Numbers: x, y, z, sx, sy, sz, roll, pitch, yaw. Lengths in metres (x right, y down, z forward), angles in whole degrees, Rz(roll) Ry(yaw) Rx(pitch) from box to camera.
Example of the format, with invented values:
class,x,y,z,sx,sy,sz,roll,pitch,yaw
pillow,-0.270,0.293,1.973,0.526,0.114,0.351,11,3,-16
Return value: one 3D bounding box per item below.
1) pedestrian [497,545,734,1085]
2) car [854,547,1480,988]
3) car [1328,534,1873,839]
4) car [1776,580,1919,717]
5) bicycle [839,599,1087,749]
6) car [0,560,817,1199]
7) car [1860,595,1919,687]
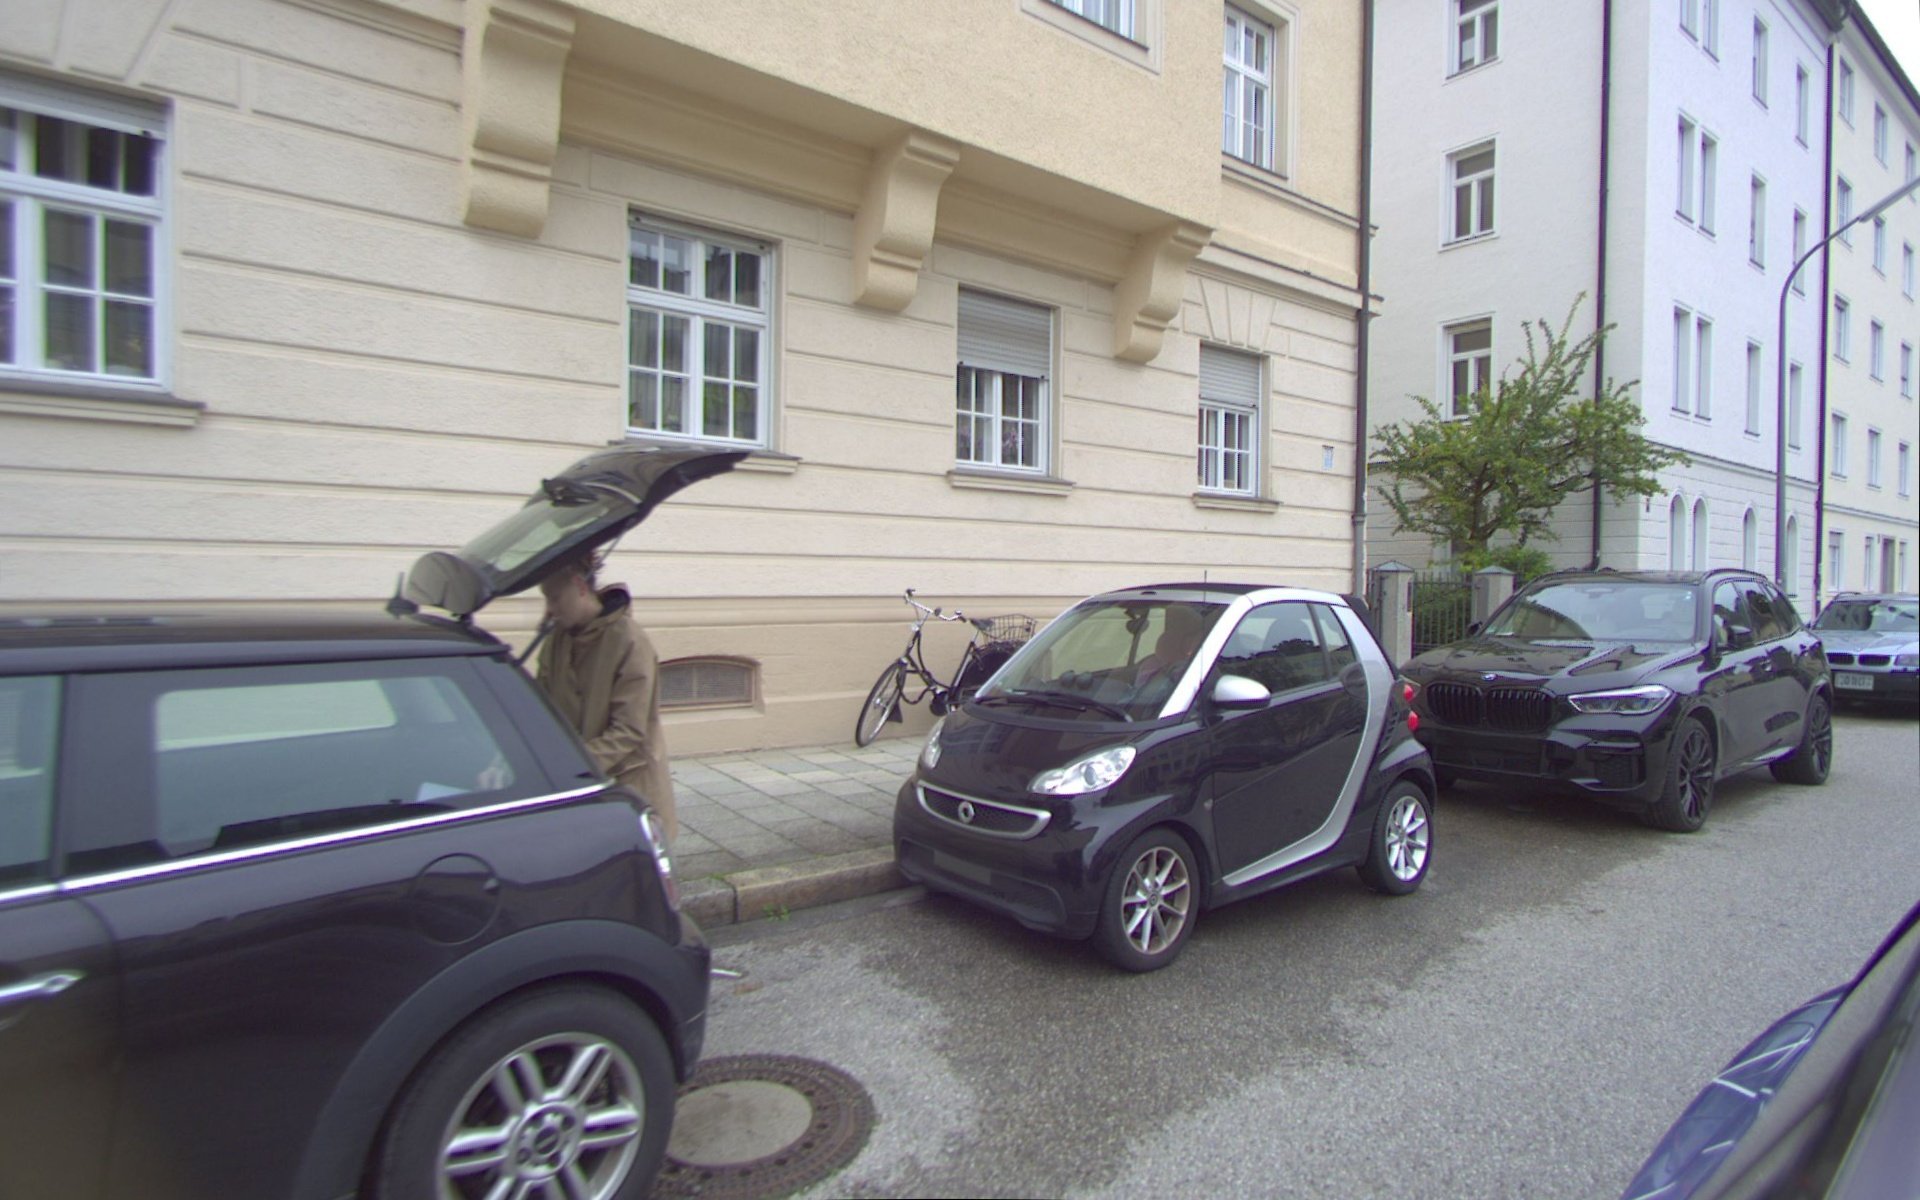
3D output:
class,x,y,z,sx,sy,sz,roll,pitch,yaw
pedestrian,-1.140,0.611,3.328,0.567,1.548,0.630,0,0,-38
car,1.129,0.588,5.113,2.962,1.574,1.518,0,0,-36
car,5.376,0.483,8.227,4.931,1.761,2.176,0,0,-37
car,13.261,0.572,14.257,4.417,1.684,1.851,-1,1,-39
bicycle,0.071,0.549,8.271,2.097,1.061,0.503,0,4,-36
car,-2.247,0.650,1.945,3.614,1.435,1.634,0,0,-40
car,16.935,0.650,17.117,4.008,1.468,1.832,0,0,-37
